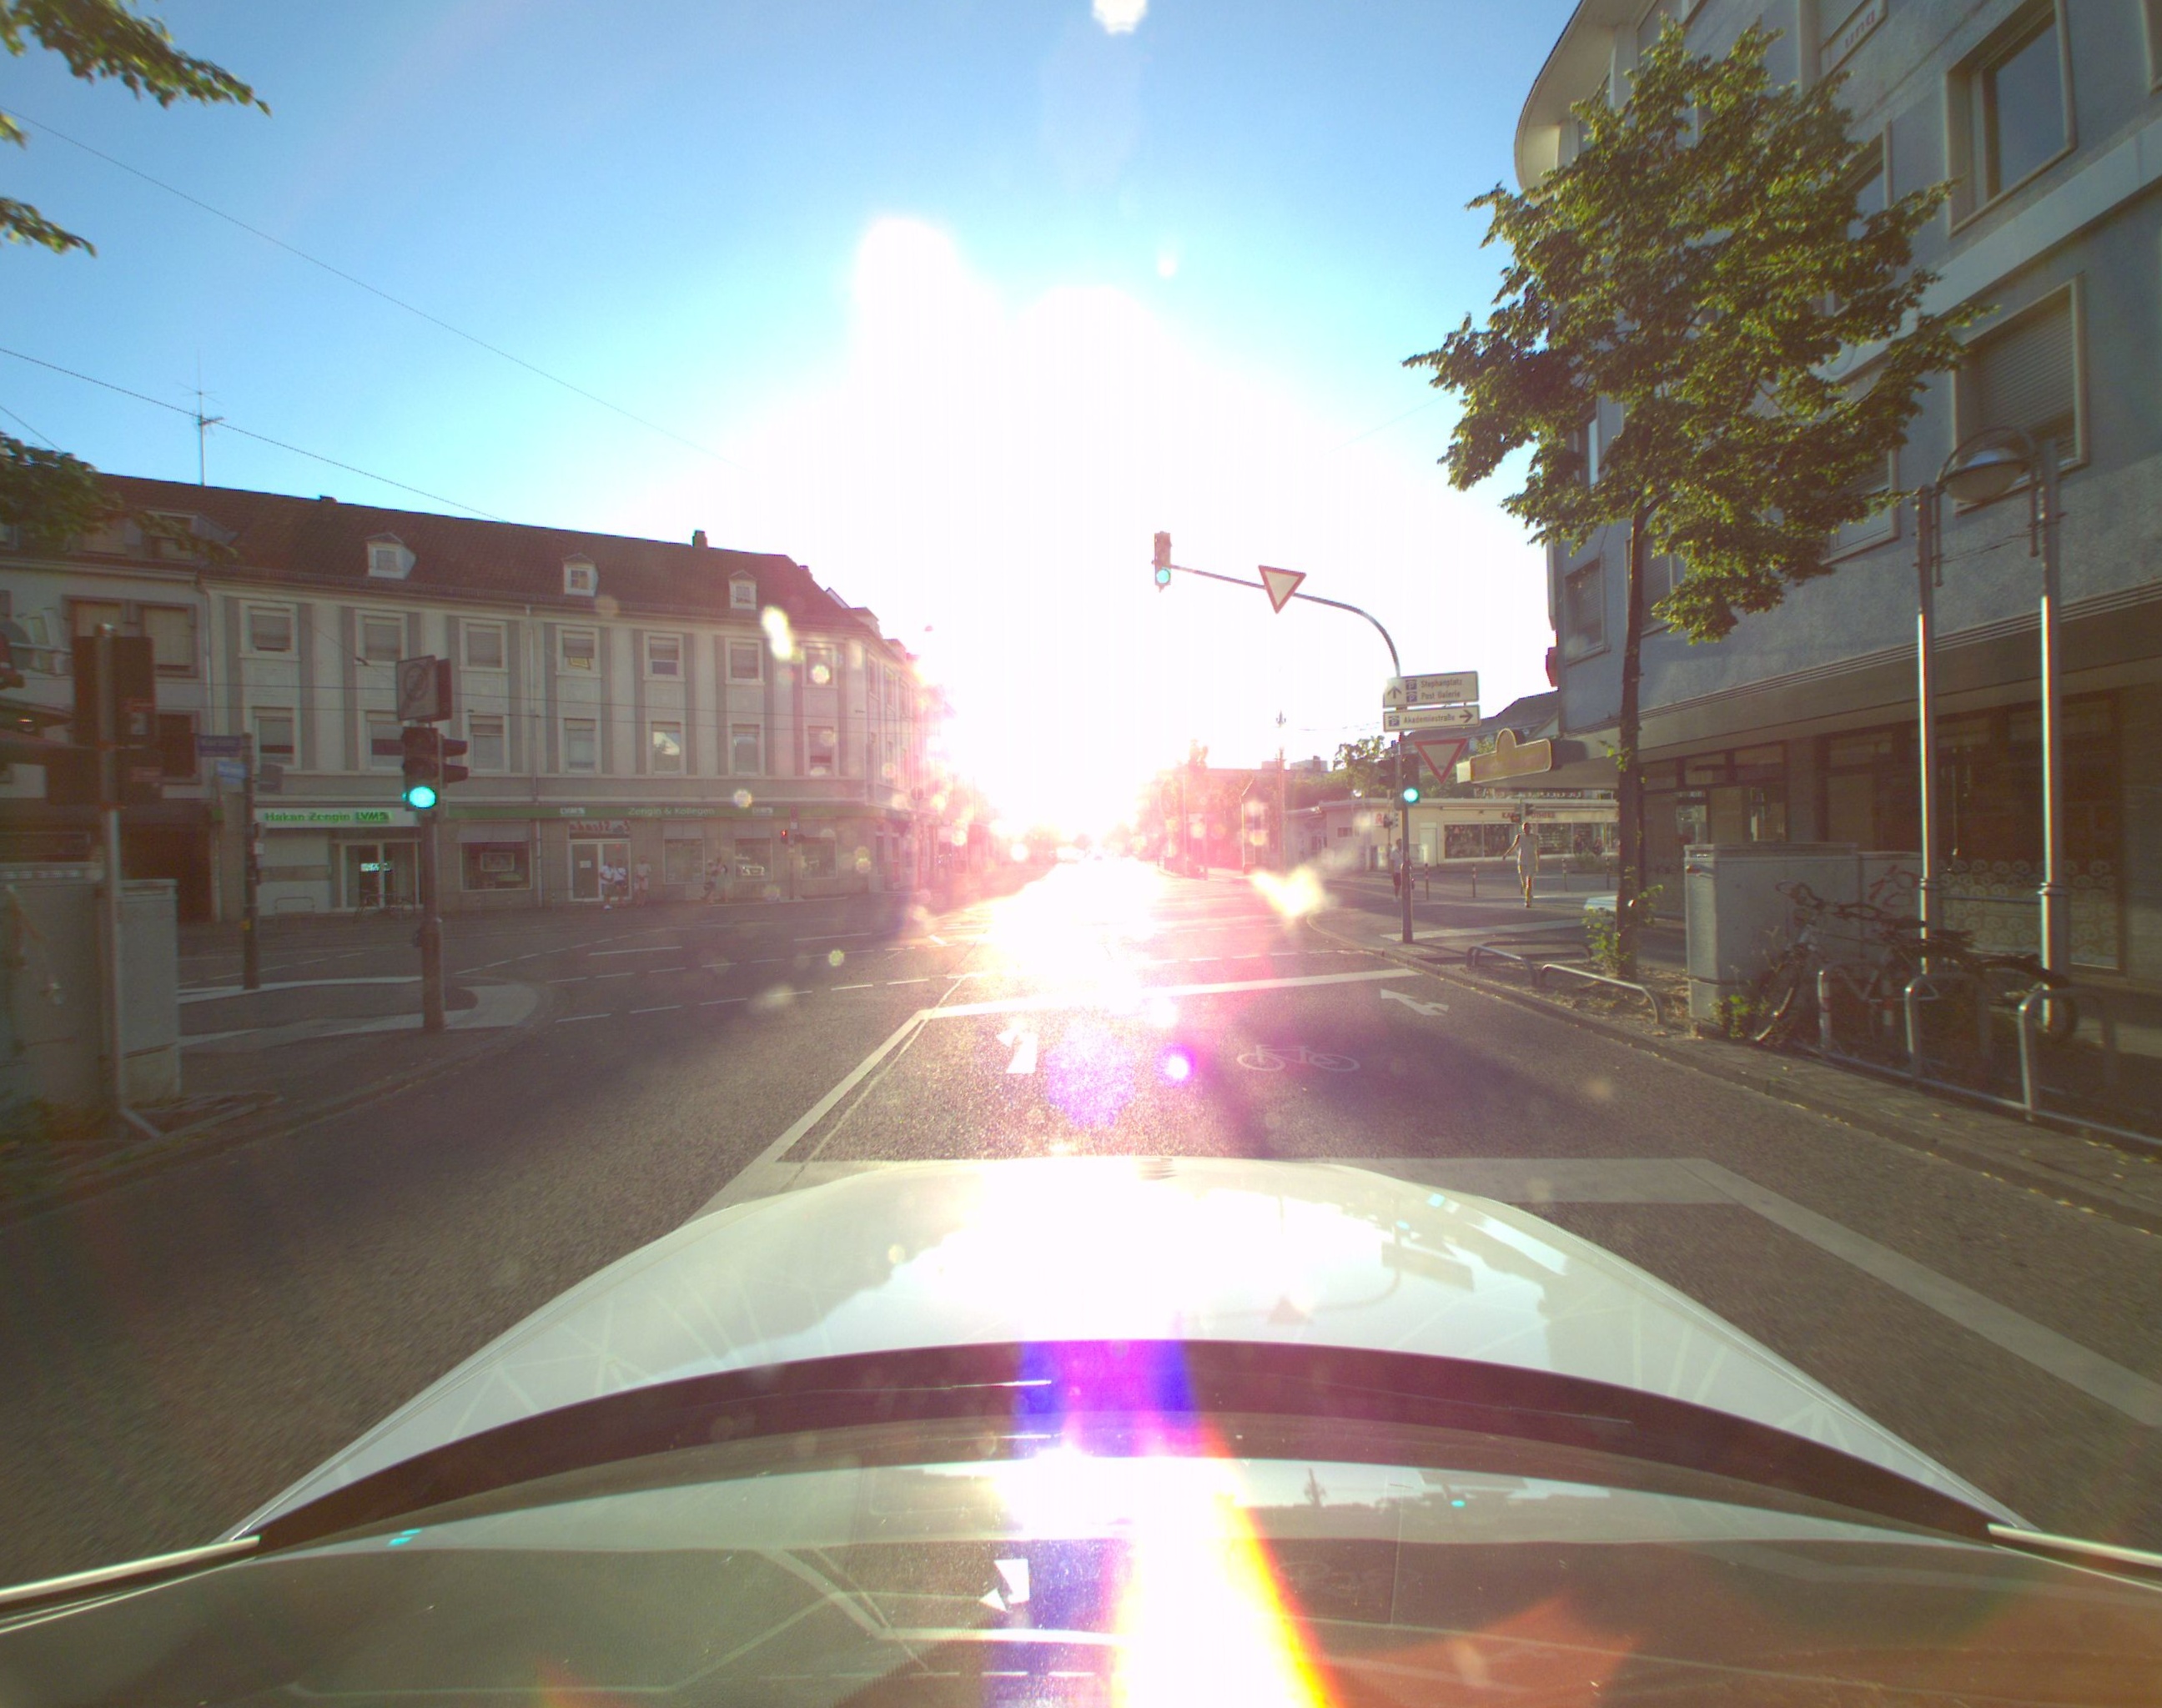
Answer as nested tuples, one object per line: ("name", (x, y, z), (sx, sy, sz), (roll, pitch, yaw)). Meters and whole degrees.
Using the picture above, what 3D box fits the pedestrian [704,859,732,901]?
("pedestrian", (-13.978, 0.984, 31.369), (0.870, 1.548, 0.694), (-2, 0, -21))

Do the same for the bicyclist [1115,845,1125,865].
("bicyclist", (3.466, 0.107, 72.441), (0.680, 1.707, 0.666), (-2, 0, -16))

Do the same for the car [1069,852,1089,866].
("car", (-0.218, 0.584, 99.555), (2.295, 1.678, 5.534), (-2, 0, 1))

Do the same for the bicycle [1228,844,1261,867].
("bicycle", (11.706, 0.113, 58.444), (2.214, 1.522, 0.681), (-2, 0, 2))

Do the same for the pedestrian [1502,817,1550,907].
("pedestrian", (9.764, 0.174, 17.856), (0.796, 1.886, 1.000), (-4, -1, 29))

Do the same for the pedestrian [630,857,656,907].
("pedestrian", (-15.762, 0.989, 29.299), (0.700, 1.745, 0.635), (-2, 0, -21))

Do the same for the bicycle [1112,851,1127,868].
("bicycle", (3.421, 0.498, 72.608), (0.680, 1.402, 2.218), (-2, 0, -16))

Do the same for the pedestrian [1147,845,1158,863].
("pedestrian", (7.492, 0.010, 85.336), (0.798, 1.786, 0.998), (-3, -1, 15))

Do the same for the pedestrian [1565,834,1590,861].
("pedestrian", (31.501, -0.408, 51.671), (0.995, 1.612, 0.800), (-3, -1, -24))

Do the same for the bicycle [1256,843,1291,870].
("bicycle", (11.557, 0.148, 48.929), (1.978, 1.522, 0.479), (-2, 0, 1))

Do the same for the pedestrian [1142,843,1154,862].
("pedestrian", (7.197, -0.125, 87.154), (0.981, 1.957, 0.811), (-2, 0, 28))

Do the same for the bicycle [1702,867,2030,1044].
("bicycle", (5.773, 0.730, 6.048), (1.905, 1.203, 0.470), (-2, 0, 2))

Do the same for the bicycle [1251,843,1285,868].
("bicycle", (11.791, 0.104, 51.340), (1.978, 1.522, 0.479), (-2, 0, 2))

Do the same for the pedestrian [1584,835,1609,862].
("pedestrian", (32.093, -0.325, 50.692), (0.995, 1.612, 0.800), (-3, -1, -24))

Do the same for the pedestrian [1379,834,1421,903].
("pedestrian", (8.321, 0.361, 21.245), (0.796, 1.726, 1.000), (-4, -1, 29))

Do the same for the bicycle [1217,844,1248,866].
("bicycle", (11.446, 0.066, 61.594), (2.211, 1.522, 0.682), (-2, 0, 6))

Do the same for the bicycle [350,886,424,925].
("bicycle", (-21.889, 1.619, 25.710), (1.651, 1.089, 0.475), (-3, 2, -26))

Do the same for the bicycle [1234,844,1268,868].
("bicycle", (11.703, 0.147, 56.064), (2.214, 1.522, 0.681), (-2, 0, 2))

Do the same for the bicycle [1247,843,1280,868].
("bicycle", (11.729, 0.089, 52.378), (1.978, 1.522, 0.479), (-2, 0, 2))

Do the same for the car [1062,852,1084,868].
("car", (-0.882, 0.673, 91.970), (2.295, 1.678, 5.534), (-2, 0, 1))

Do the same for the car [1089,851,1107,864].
("car", (2.242, 0.463, 108.752), (2.295, 1.678, 5.534), (-2, 0, 1))

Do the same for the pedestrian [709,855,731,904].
("pedestrian", (-13.430, 0.922, 30.302), (0.648, 1.778, 0.667), (-2, 0, -21))

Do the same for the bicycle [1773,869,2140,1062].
("bicycle", (5.909, 0.737, 5.553), (1.905, 1.203, 0.470), (-2, 0, 2))

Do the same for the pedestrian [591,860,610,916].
("pedestrian", (-16.972, 1.193, 28.742), (0.498, 1.928, 0.570), (-2, 0, -34))

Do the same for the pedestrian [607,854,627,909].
("pedestrian", (-16.614, 0.964, 29.176), (0.532, 1.928, 0.633), (-2, 0, -34))
